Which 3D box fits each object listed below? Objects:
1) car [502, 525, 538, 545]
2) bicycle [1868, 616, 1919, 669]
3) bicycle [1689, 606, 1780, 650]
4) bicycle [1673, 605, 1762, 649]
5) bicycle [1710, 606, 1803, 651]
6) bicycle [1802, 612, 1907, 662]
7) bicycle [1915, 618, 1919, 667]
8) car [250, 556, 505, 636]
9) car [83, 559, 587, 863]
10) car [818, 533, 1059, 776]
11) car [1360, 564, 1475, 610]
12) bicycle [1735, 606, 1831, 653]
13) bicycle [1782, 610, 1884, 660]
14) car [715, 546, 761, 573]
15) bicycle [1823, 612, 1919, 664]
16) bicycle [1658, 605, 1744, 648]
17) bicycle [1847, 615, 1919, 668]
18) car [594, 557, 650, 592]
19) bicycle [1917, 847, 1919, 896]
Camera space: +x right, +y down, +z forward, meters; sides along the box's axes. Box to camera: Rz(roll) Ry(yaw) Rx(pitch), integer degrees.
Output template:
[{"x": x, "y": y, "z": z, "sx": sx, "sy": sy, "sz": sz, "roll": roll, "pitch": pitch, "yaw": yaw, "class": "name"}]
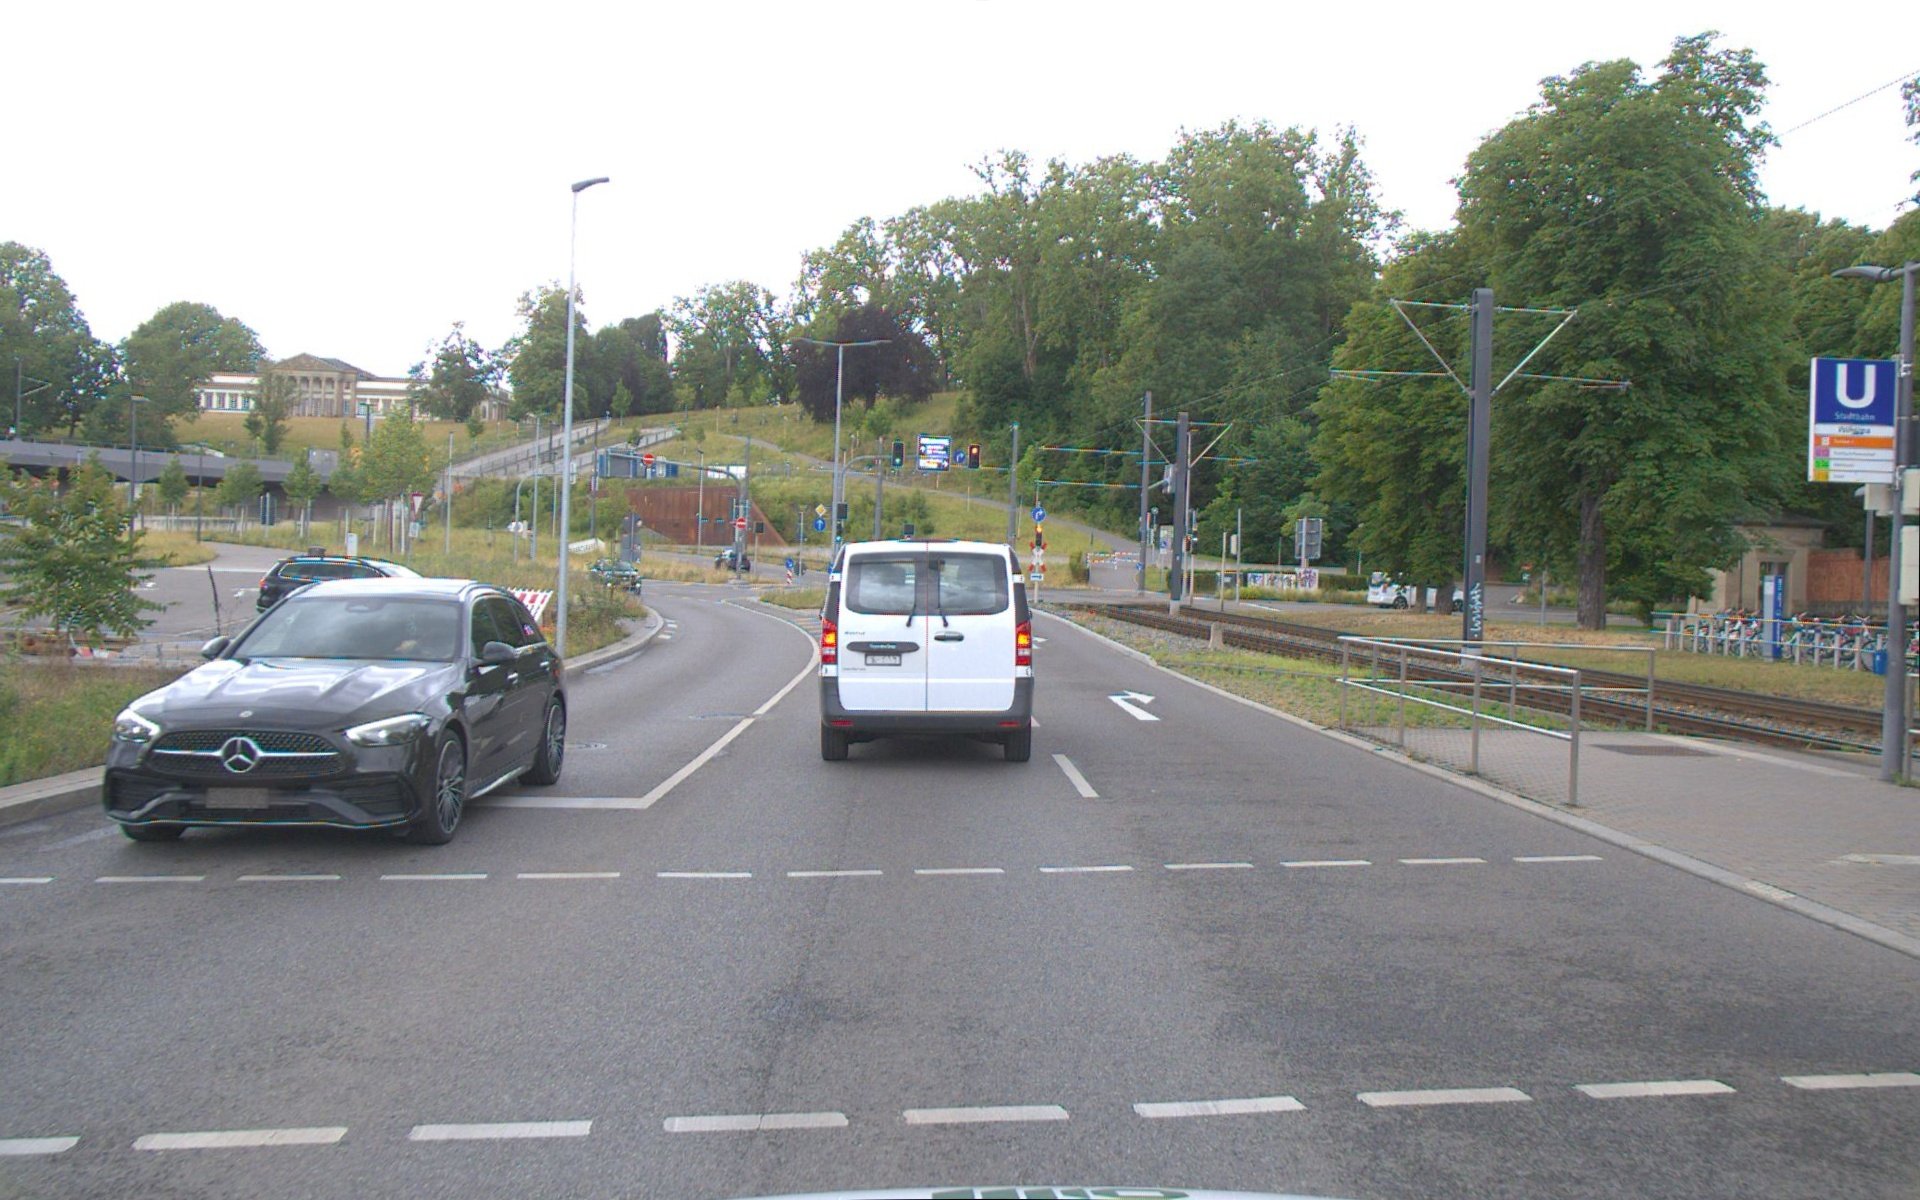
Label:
[{"x": -39.166, "y": -5.800, "z": 147.227, "sx": 1.920, "sy": 1.655, "sz": 3.954, "roll": 2, "pitch": 1, "yaw": -34, "class": "car"}, {"x": 18.678, "y": 0.833, "z": 32.048, "sx": 1.873, "sy": 0.992, "sz": 0.531, "roll": 1, "pitch": 1, "yaw": -1, "class": "bicycle"}, {"x": 18.213, "y": 0.653, "z": 38.926, "sx": 1.873, "sy": 0.992, "sz": 0.531, "roll": 1, "pitch": 1, "yaw": -1, "class": "bicycle"}, {"x": 18.269, "y": 0.652, "z": 39.908, "sx": 1.873, "sy": 0.992, "sz": 0.531, "roll": 1, "pitch": 1, "yaw": -1, "class": "bicycle"}, {"x": 18.395, "y": 0.658, "z": 38.203, "sx": 1.873, "sy": 0.992, "sz": 0.531, "roll": 1, "pitch": 1, "yaw": -1, "class": "bicycle"}, {"x": 18.583, "y": 0.764, "z": 34.374, "sx": 1.873, "sy": 0.992, "sz": 0.531, "roll": 1, "pitch": 1, "yaw": -1, "class": "bicycle"}, {"x": 18.952, "y": 0.820, "z": 30.941, "sx": 1.873, "sy": 0.911, "sz": 0.531, "roll": 1, "pitch": 1, "yaw": -1, "class": "bicycle"}, {"x": -12.110, "y": -0.106, "z": 34.536, "sx": 4.609, "sy": 1.503, "sz": 2.002, "roll": 1, "pitch": 2, "yaw": 9, "class": "car"}, {"x": -3.722, "y": 0.573, "z": 10.759, "sx": 1.695, "sy": 1.555, "sz": 4.443, "roll": 1, "pitch": 0, "yaw": -2, "class": "car"}, {"x": -0.296, "y": 0.408, "z": 15.576, "sx": 1.920, "sy": 1.937, "sz": 4.459, "roll": 1, "pitch": 1, "yaw": -3, "class": "car"}, {"x": 23.012, "y": -0.663, "z": 83.302, "sx": 5.041, "sy": 2.048, "sz": 2.203, "roll": 3, "pitch": 0, "yaw": -11, "class": "car"}, {"x": 18.599, "y": 0.668, "z": 37.393, "sx": 1.873, "sy": 0.992, "sz": 0.531, "roll": 1, "pitch": 1, "yaw": -1, "class": "bicycle"}, {"x": 18.554, "y": 0.746, "z": 35.155, "sx": 1.873, "sy": 0.992, "sz": 0.531, "roll": 1, "pitch": 1, "yaw": -1, "class": "bicycle"}, {"x": -15.326, "y": -2.810, "z": 113.999, "sx": 1.913, "sy": 1.655, "sz": 3.968, "roll": 3, "pitch": 1, "yaw": -26, "class": "car"}, {"x": 18.631, "y": 0.769, "z": 33.634, "sx": 1.873, "sy": 0.992, "sz": 0.531, "roll": 1, "pitch": 1, "yaw": -1, "class": "bicycle"}, {"x": 18.294, "y": 0.649, "z": 40.835, "sx": 1.873, "sy": 0.992, "sz": 0.531, "roll": 1, "pitch": 1, "yaw": -1, "class": "bicycle"}, {"x": 18.615, "y": 0.825, "z": 32.694, "sx": 1.873, "sy": 0.992, "sz": 0.531, "roll": 1, "pitch": 1, "yaw": -1, "class": "bicycle"}, {"x": -15.479, "y": -1.183, "z": 75.619, "sx": 1.851, "sy": 1.502, "sz": 3.975, "roll": 0, "pitch": 1, "yaw": -21, "class": "car"}, {"x": 5.358, "y": 0.869, "z": 8.102, "sx": 1.669, "sy": 1.092, "sz": 0.611, "roll": 1, "pitch": 2, "yaw": -41, "class": "bicycle"}]
